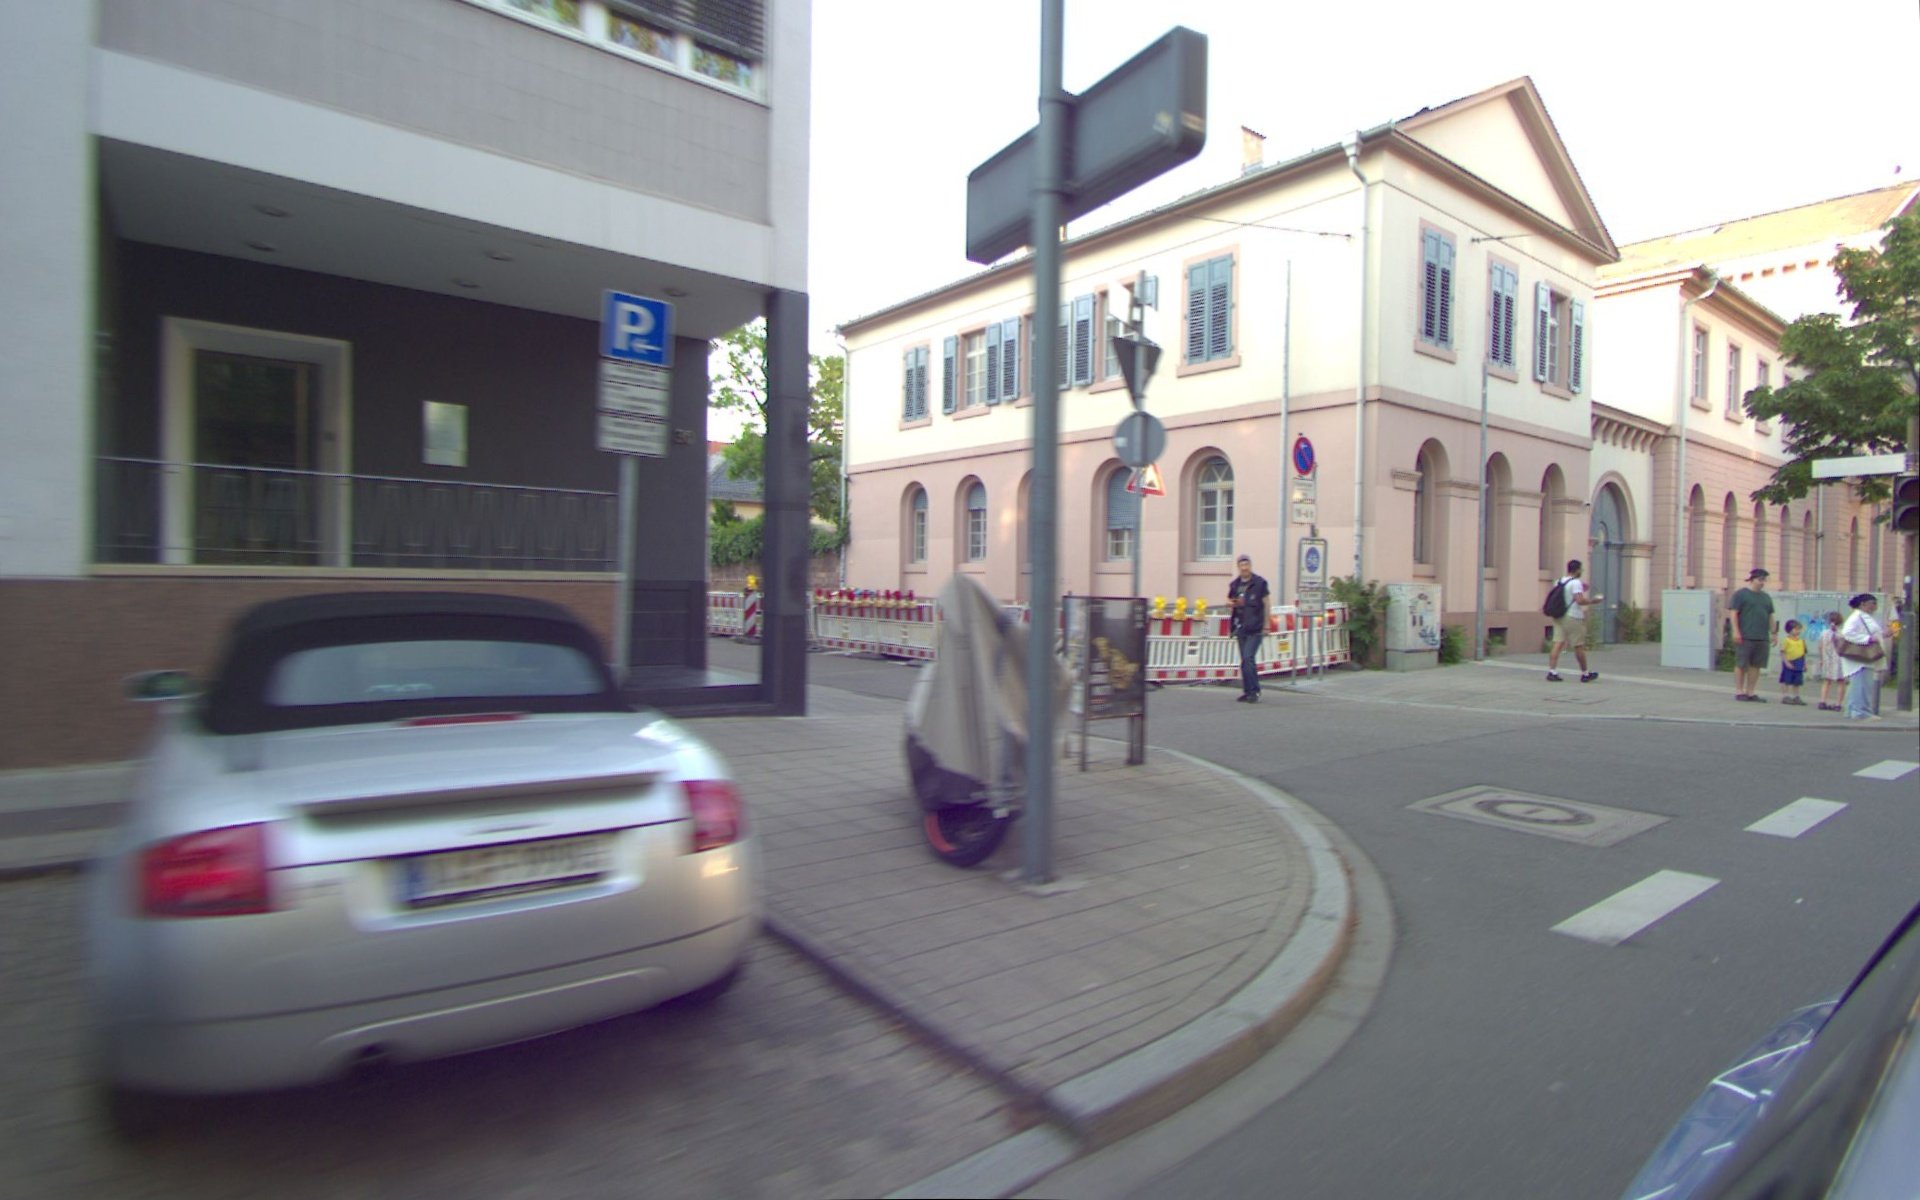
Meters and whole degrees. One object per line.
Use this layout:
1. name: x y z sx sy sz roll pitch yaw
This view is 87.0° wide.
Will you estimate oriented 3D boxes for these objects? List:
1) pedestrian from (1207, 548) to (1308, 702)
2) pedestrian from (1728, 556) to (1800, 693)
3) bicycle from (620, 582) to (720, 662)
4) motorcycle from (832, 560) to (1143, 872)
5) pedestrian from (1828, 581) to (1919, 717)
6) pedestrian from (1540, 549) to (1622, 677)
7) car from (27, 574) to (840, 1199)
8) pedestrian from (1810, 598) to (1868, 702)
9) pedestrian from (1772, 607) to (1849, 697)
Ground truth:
1. pedestrian: 3.698 0.284 12.585 1.046 1.817 0.699 0 1 -37
2. pedestrian: 10.946 0.321 13.790 0.565 1.796 0.545 0 3 -36
3. bicycle: -4.848 0.340 16.872 1.781 1.254 0.527 2 1 31
4. motorcycle: 0.051 0.496 5.670 0.979 1.409 1.918 0 2 -25
5. pedestrian: 10.960 0.561 12.114 0.593 1.529 0.715 3 3 23
6. pedestrian: 9.498 0.180 15.484 1.031 1.877 0.699 0 2 -40
7. car: -2.205 0.607 4.117 1.760 1.349 4.002 0 2 -34
8. pedestrian: 11.300 0.625 13.008 0.482 1.277 0.450 0 3 -44
9. pedestrian: 11.516 0.694 13.710 0.535 1.159 0.493 2 3 -1
